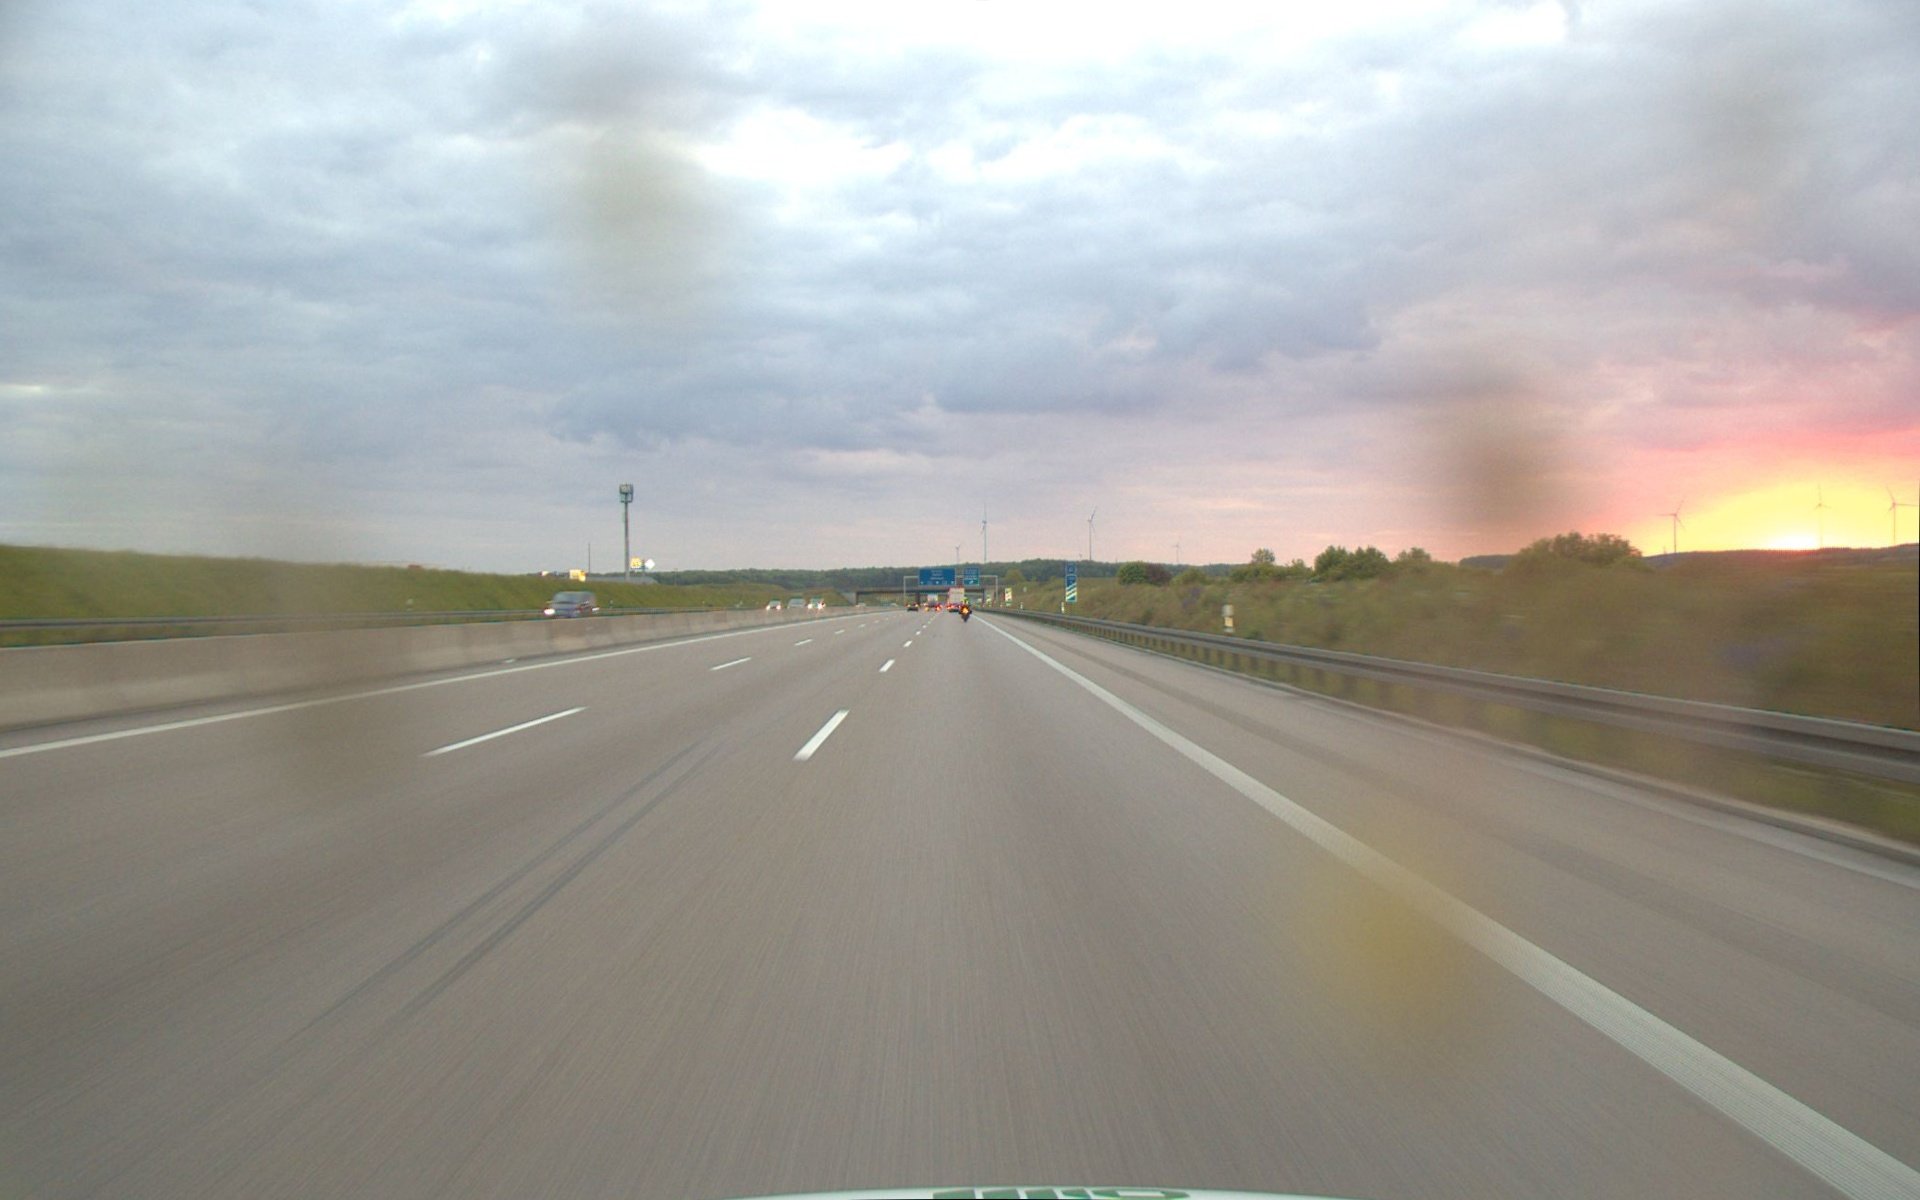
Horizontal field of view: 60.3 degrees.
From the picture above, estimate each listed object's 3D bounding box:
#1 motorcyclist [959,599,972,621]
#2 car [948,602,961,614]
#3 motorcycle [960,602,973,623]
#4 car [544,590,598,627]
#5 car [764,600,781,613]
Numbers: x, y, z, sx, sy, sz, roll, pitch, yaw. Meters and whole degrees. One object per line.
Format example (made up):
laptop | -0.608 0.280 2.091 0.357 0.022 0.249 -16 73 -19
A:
motorcyclist | 0.377 0.675 112.645 0.848 1.513 1.168 1 0 1
car | -0.815 1.154 239.875 1.879 1.607 3.999 0 0 -1
motorcycle | 0.412 0.829 112.653 0.883 1.370 2.348 0 1 0
car | -22.094 0.455 94.125 1.953 1.970 5.089 1 0 -1
car | -23.337 0.833 205.977 1.597 1.543 4.426 0 0 -1
